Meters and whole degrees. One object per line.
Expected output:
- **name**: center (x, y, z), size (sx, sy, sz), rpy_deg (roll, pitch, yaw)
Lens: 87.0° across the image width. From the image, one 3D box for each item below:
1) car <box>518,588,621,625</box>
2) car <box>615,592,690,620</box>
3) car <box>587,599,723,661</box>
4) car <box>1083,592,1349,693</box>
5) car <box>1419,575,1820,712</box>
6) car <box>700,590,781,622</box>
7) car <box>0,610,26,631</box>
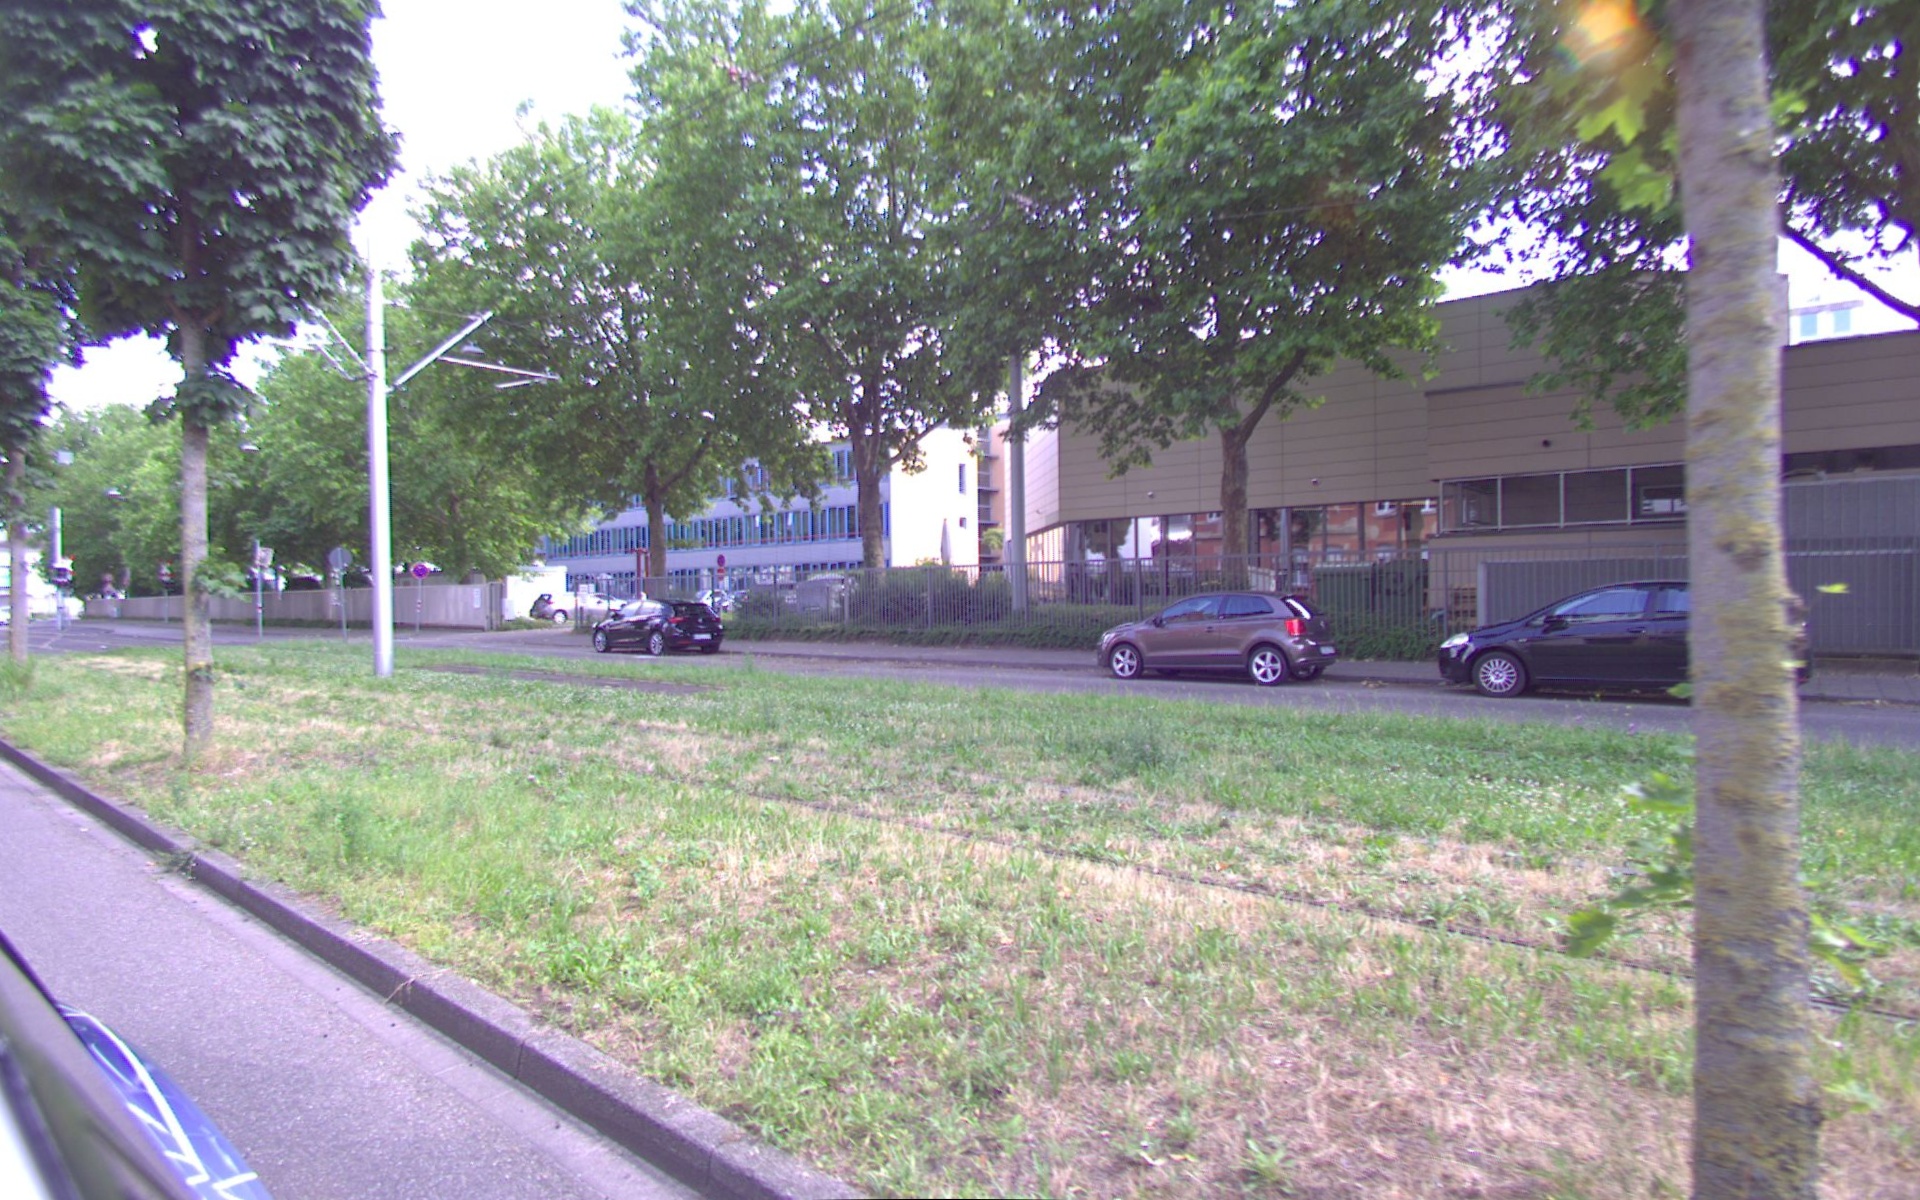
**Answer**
- **car**: center (-17.802, 0.276, 46.233), size (1.998, 1.630, 3.948), rpy_deg (0, 0, 39)
- **car**: center (-18.692, 0.354, 61.680), size (1.998, 1.630, 3.948), rpy_deg (0, 0, 39)
- **car**: center (-8.046, 0.741, 26.557), size (3.999, 1.475, 1.580), rpy_deg (-1, 0, 42)
- **car**: center (4.056, 0.617, 16.388), size (3.899, 1.436, 1.538), rpy_deg (-1, 0, 41)
- **car**: center (8.190, 0.465, 12.791), size (4.001, 1.464, 1.783), rpy_deg (-1, 0, 43)
- **car**: center (-11.800, 0.302, 54.612), size (1.998, 1.630, 3.948), rpy_deg (0, 0, 39)
- **car**: center (-74.735, 1.628, 79.275), size (4.038, 1.541, 1.778), rpy_deg (-1, 1, 40)
